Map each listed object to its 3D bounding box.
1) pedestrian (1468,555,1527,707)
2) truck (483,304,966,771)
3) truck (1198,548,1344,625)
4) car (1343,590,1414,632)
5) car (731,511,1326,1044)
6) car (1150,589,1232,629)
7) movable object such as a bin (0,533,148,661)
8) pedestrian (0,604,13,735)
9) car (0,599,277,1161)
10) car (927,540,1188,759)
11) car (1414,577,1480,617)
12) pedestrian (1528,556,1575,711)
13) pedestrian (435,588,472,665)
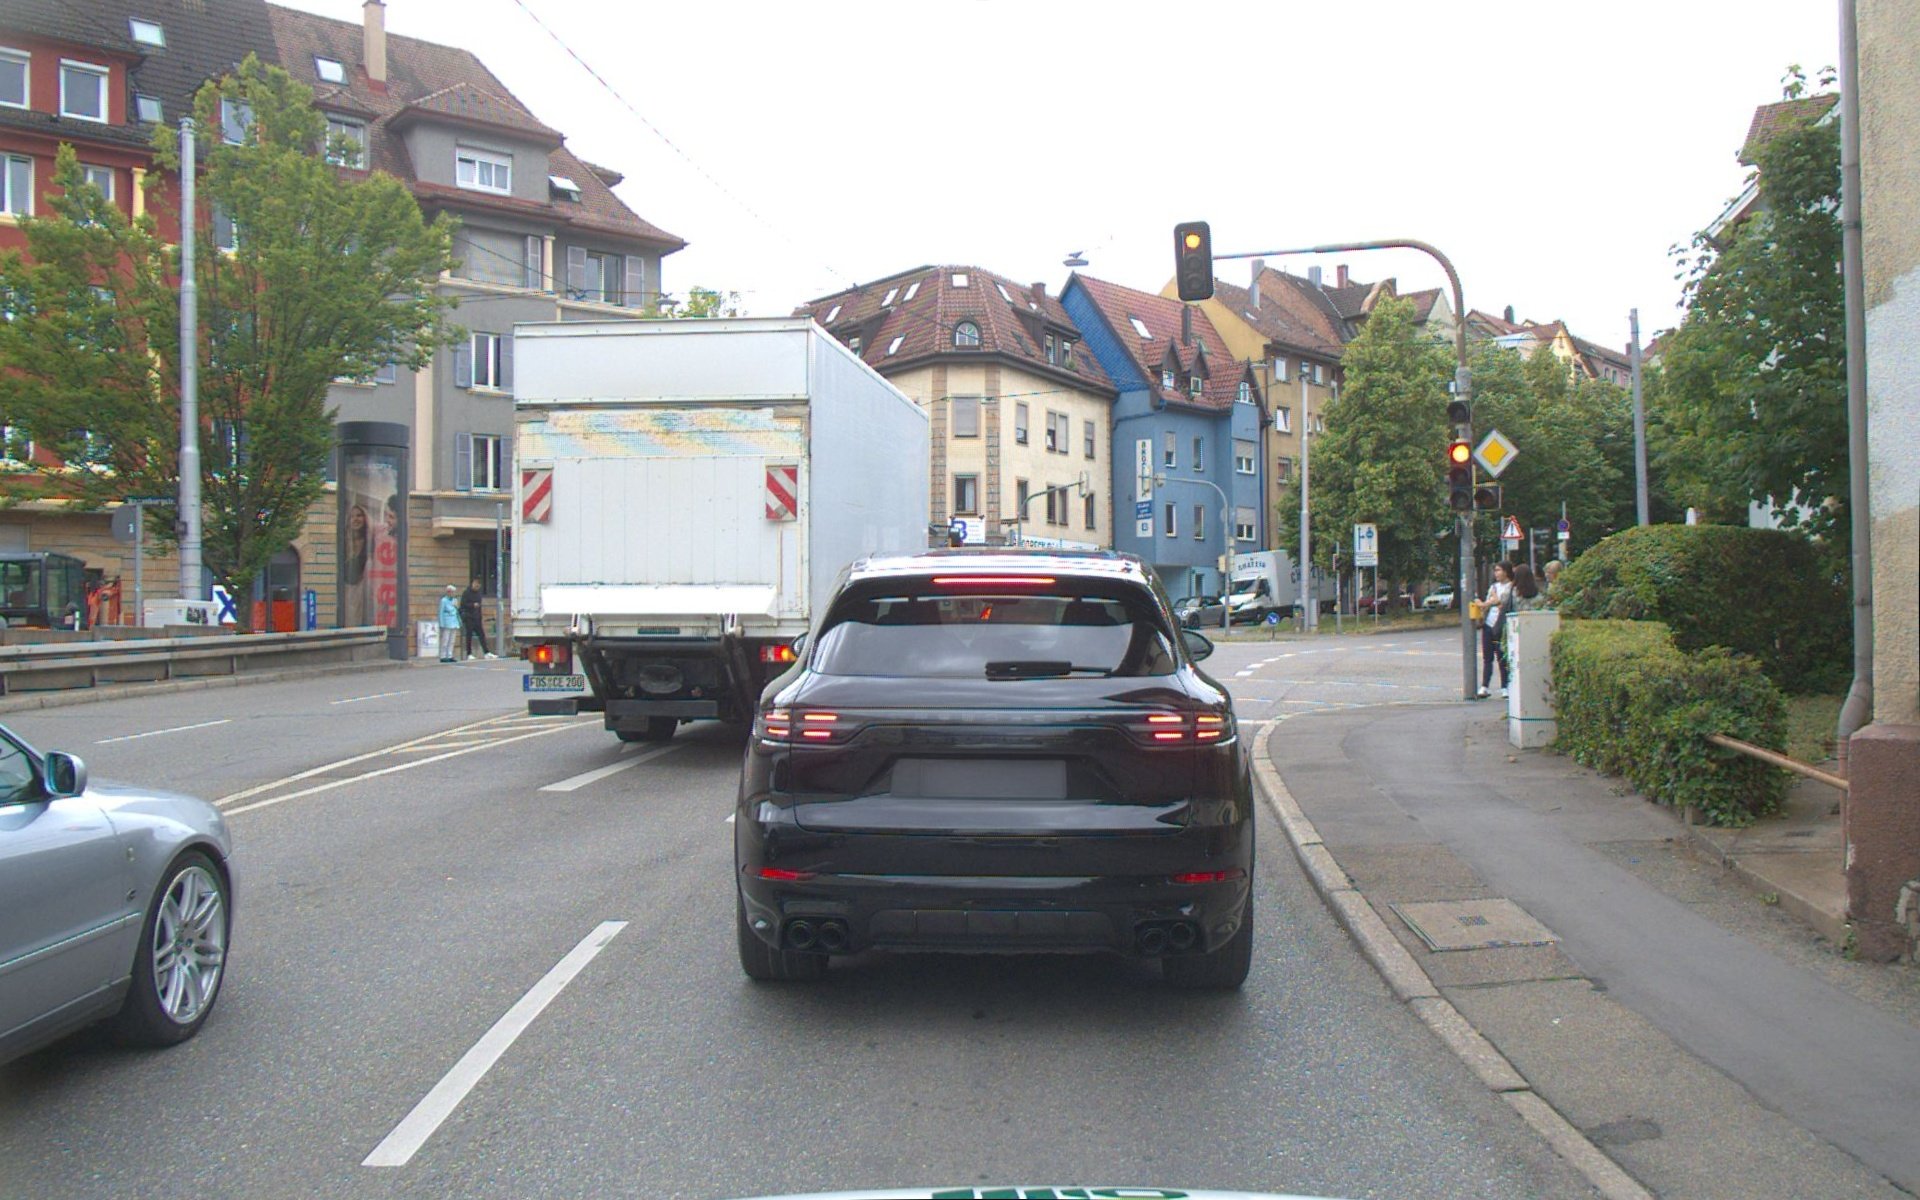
[{"bbox_3d":[6.701,0.376,20.643,0.577,1.851,0.529,2,-1,10],"label":"pedestrian"},{"bbox_3d":[-1.878,-0.542,17.070,2.710,3.637,8.071,1,1,9],"label":"truck"},{"bbox_3d":[14.896,-0.594,78.678,2.830,3.398,8.744,2,0,41],"label":"truck"},{"bbox_3d":[21.907,0.577,86.465,1.965,2.049,3.975,2,0,42],"label":"car"},{"bbox_3d":[0.113,0.545,7.377,1.939,1.713,3.997,0,1,-4],"label":"car"},{"bbox_3d":[10.097,0.390,72.027,1.959,1.713,3.986,0,0,35],"label":"car"},{"bbox_3d":[-14.090,-0.059,25.589,1.870,1.802,3.986,2,0,-14],"label":"movable object such as a bin"},{"bbox_3d":[-13.282,0.939,22.564,0.537,1.760,0.586,2,-1,-35],"label":"pedestrian"},{"bbox_3d":[-3.269,0.732,3.870,1.662,1.397,4.177,0,1,-1],"label":"car"},{"bbox_3d":[1.035,0.392,15.072,1.951,1.713,4.003,0,0,10],"label":"car"},{"bbox_3d":[27.141,-0.144,92.175,1.965,2.049,3.975,2,0,42],"label":"car"},{"bbox_3d":[7.258,0.411,20.309,0.453,1.869,0.324,2,-1,14],"label":"pedestrian"},{"bbox_3d":[-10.652,0.561,34.795,0.577,1.594,0.486,2,-1,-1],"label":"pedestrian"}]
